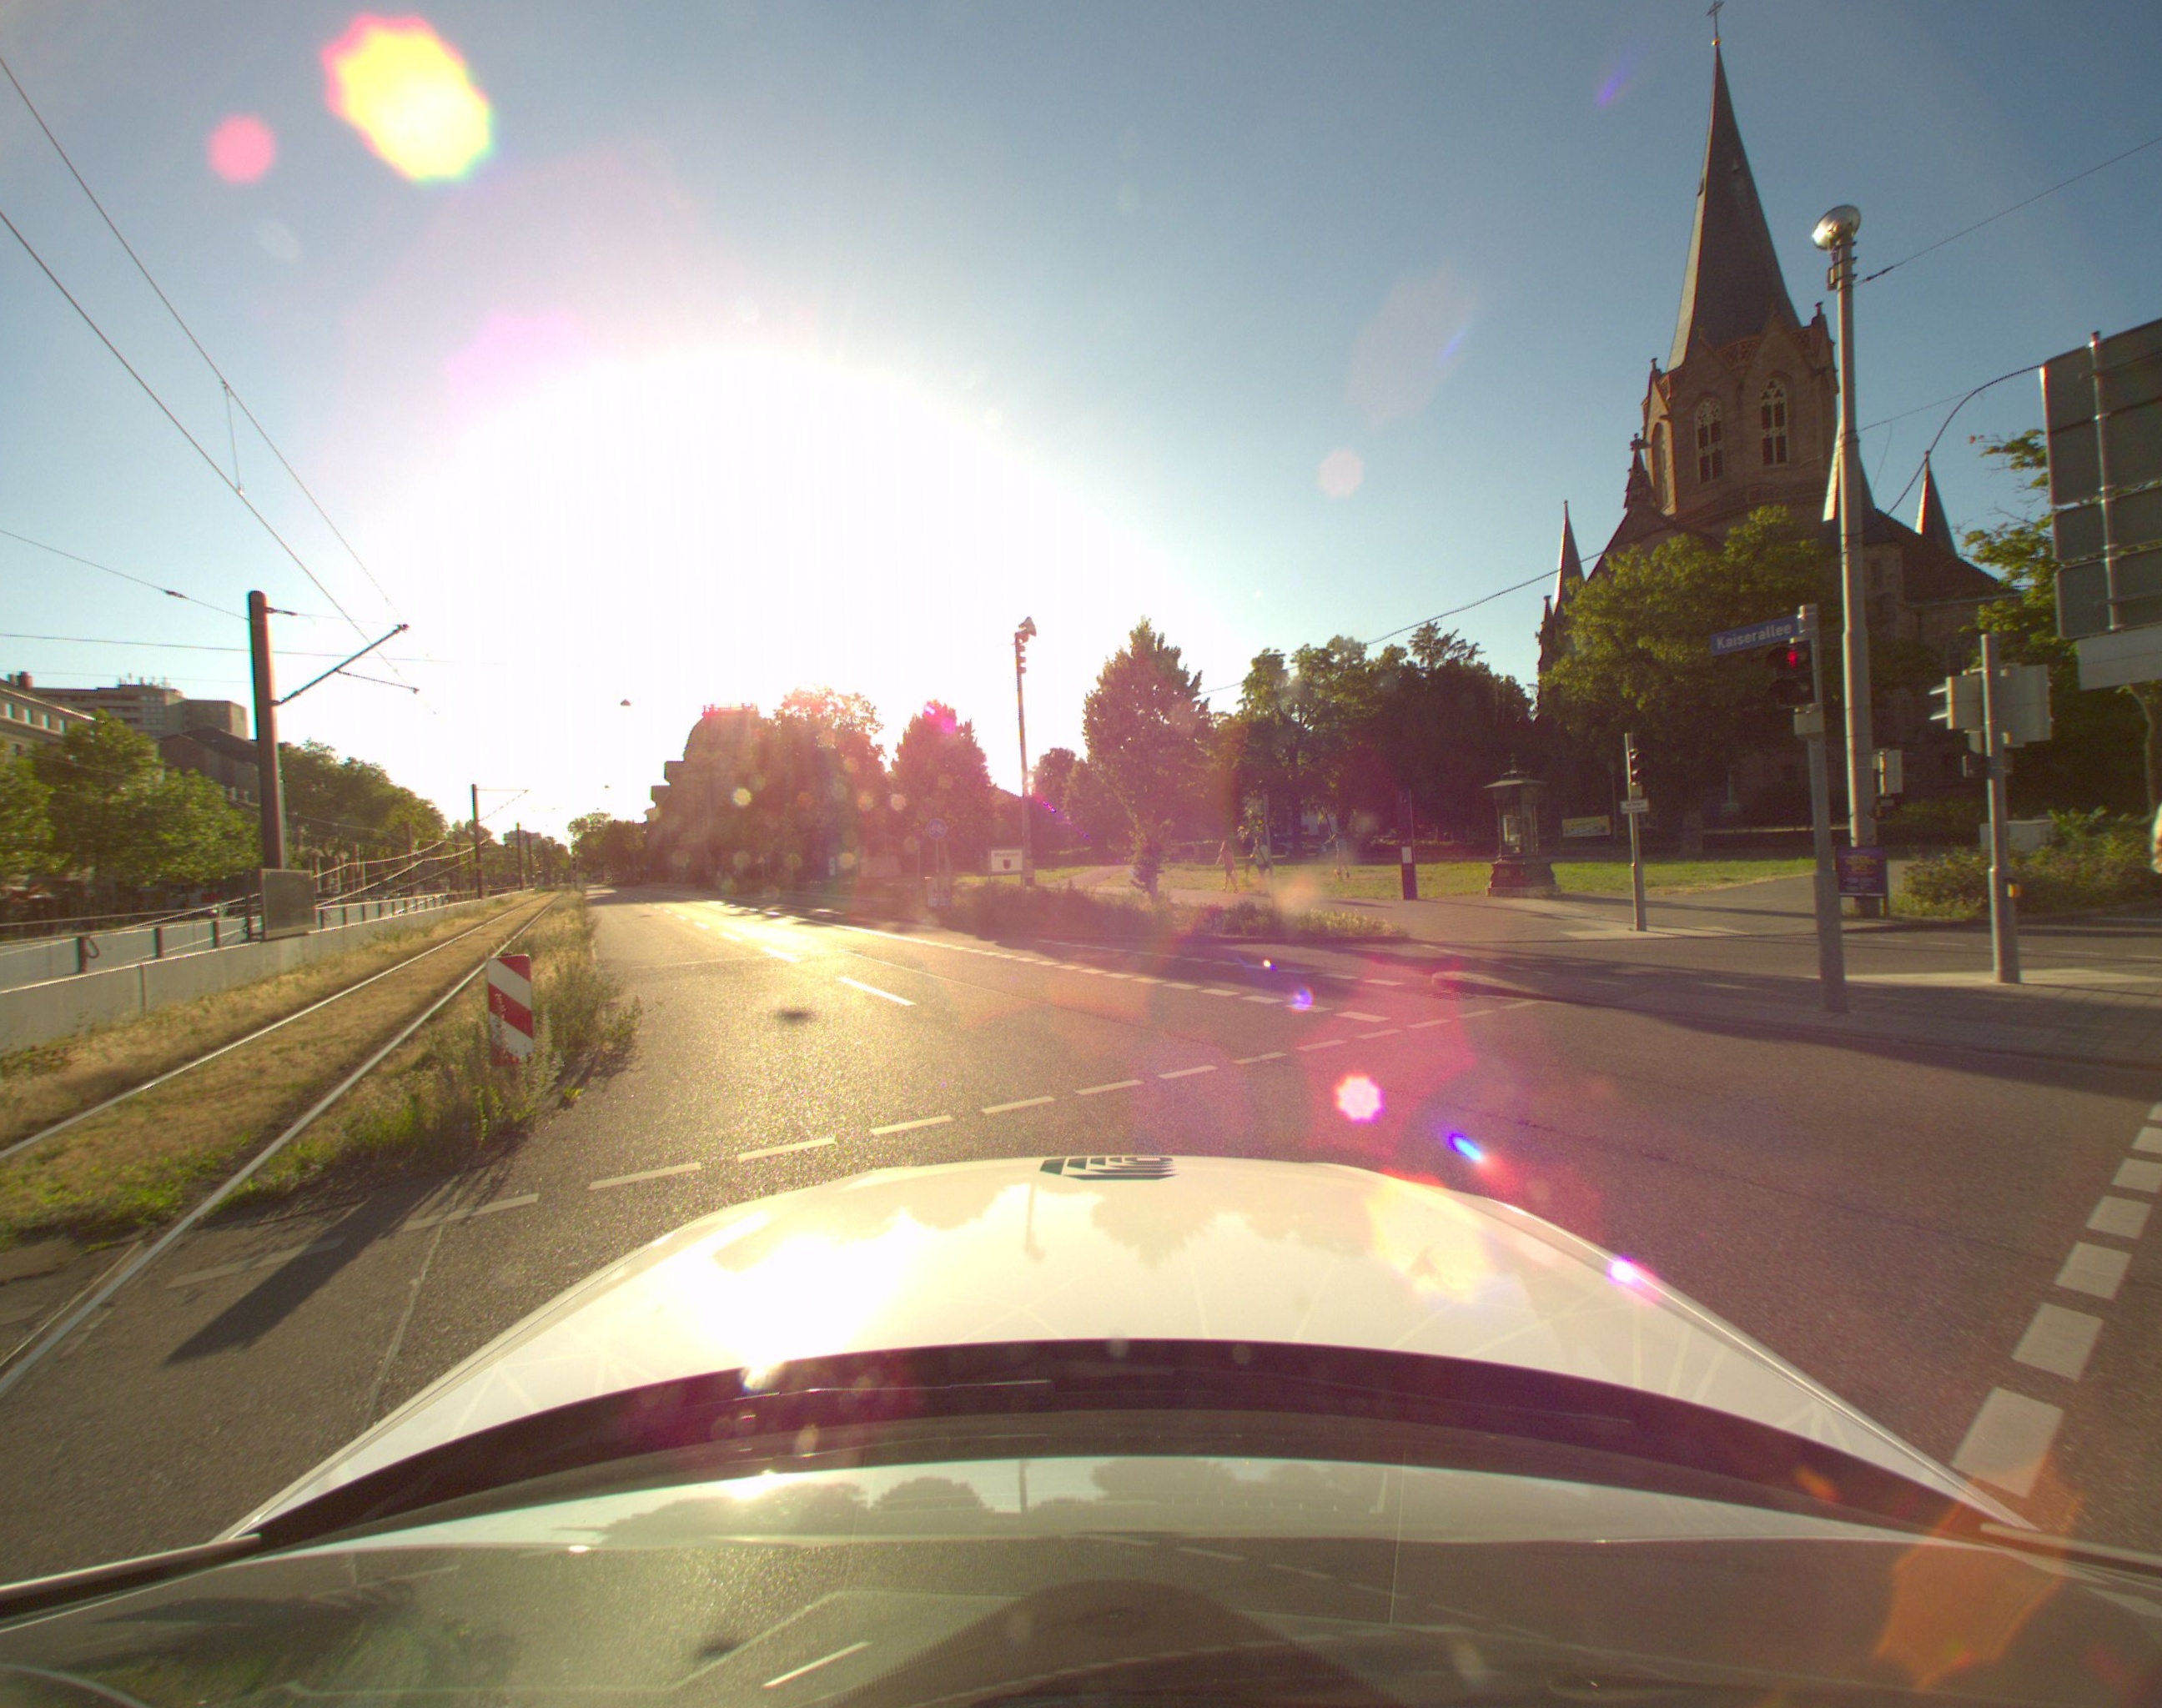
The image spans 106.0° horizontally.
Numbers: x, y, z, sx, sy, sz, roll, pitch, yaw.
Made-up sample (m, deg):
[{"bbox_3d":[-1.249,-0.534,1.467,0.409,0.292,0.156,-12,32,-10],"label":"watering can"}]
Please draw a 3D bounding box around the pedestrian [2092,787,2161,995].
[{"bbox_3d":[9.502,0.286,7.008,0.971,1.739,0.804,-3,0,-29],"label":"pedestrian"}]

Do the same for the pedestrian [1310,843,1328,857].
[{"bbox_3d":[17.248,-0.274,59.058,0.794,0.953,1.182,-2,2,39],"label":"pedestrian"}]

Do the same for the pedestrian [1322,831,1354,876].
[{"bbox_3d":[10.075,-0.015,31.952,0.840,1.696,1.015,-3,1,-5],"label":"pedestrian"}]

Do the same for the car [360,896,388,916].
[{"bbox_3d":[-79.963,5.828,92.163,2.009,2.013,3.955,-4,0,-36],"label":"car"}]

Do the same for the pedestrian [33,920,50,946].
[{"bbox_3d":[-71.267,5.398,55.835,0.493,1.708,0.544,-3,0,-31],"label":"pedestrian"}]

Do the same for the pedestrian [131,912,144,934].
[{"bbox_3d":[-77.608,5.670,66.985,0.493,1.708,0.544,-3,0,-31],"label":"pedestrian"}]

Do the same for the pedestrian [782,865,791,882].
[{"bbox_3d":[-30.784,2.035,85.156,0.687,1.822,0.530,-3,0,-27],"label":"pedestrian"}]

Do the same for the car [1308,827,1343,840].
[{"bbox_3d":[35.584,-2.958,118.365,2.011,1.571,4.411,-4,0,-41],"label":"car"}]

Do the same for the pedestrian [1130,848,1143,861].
[{"bbox_3d":[5.388,0.024,79.033,0.816,1.187,0.836,-3,0,-31],"label":"pedestrian"}]

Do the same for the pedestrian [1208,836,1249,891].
[{"bbox_3d":[4.740,0.288,26.195,0.845,1.696,1.009,-3,1,-22],"label":"pedestrian"}]

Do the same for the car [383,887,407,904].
[{"bbox_3d":[-99.866,5.964,118.586,2.007,2.244,3.959,-3,0,-32],"label":"car"}]

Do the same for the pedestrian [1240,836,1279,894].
[{"bbox_3d":[5.421,0.316,24.790,0.711,1.696,0.889,-3,1,-23],"label":"pedestrian"}]
